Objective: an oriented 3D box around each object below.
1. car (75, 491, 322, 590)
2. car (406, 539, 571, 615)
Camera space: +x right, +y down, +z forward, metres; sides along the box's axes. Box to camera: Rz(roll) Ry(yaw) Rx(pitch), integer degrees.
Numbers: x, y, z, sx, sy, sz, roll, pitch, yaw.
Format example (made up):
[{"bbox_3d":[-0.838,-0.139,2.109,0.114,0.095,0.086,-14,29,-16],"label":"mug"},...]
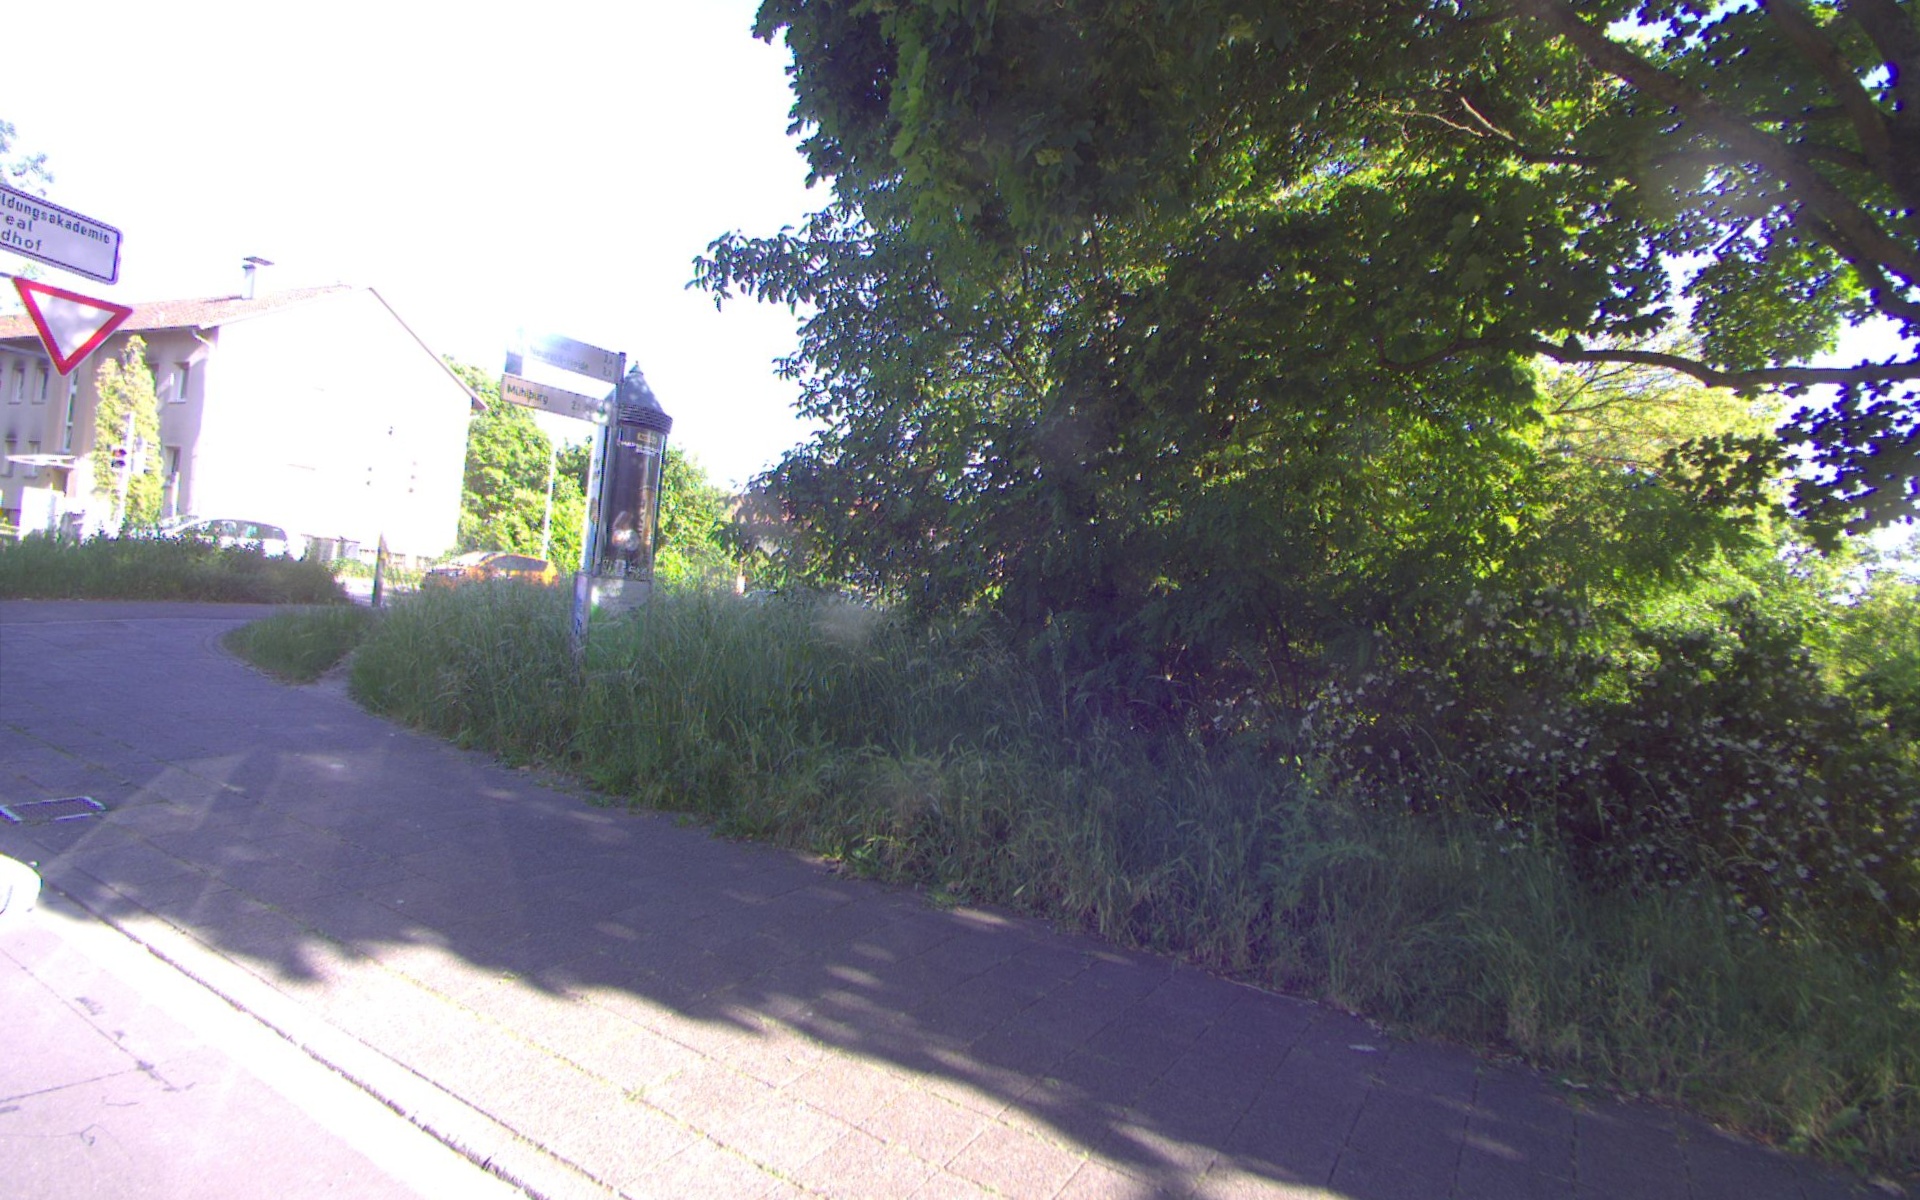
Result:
[{"bbox_3d":[-17.496,-1.313,23.344,1.727,1.581,4.117,6,-2,29],"label":"car"},{"bbox_3d":[-13.732,-0.626,29.526,1.727,1.600,3.997,6,-2,29],"label":"car"}]
